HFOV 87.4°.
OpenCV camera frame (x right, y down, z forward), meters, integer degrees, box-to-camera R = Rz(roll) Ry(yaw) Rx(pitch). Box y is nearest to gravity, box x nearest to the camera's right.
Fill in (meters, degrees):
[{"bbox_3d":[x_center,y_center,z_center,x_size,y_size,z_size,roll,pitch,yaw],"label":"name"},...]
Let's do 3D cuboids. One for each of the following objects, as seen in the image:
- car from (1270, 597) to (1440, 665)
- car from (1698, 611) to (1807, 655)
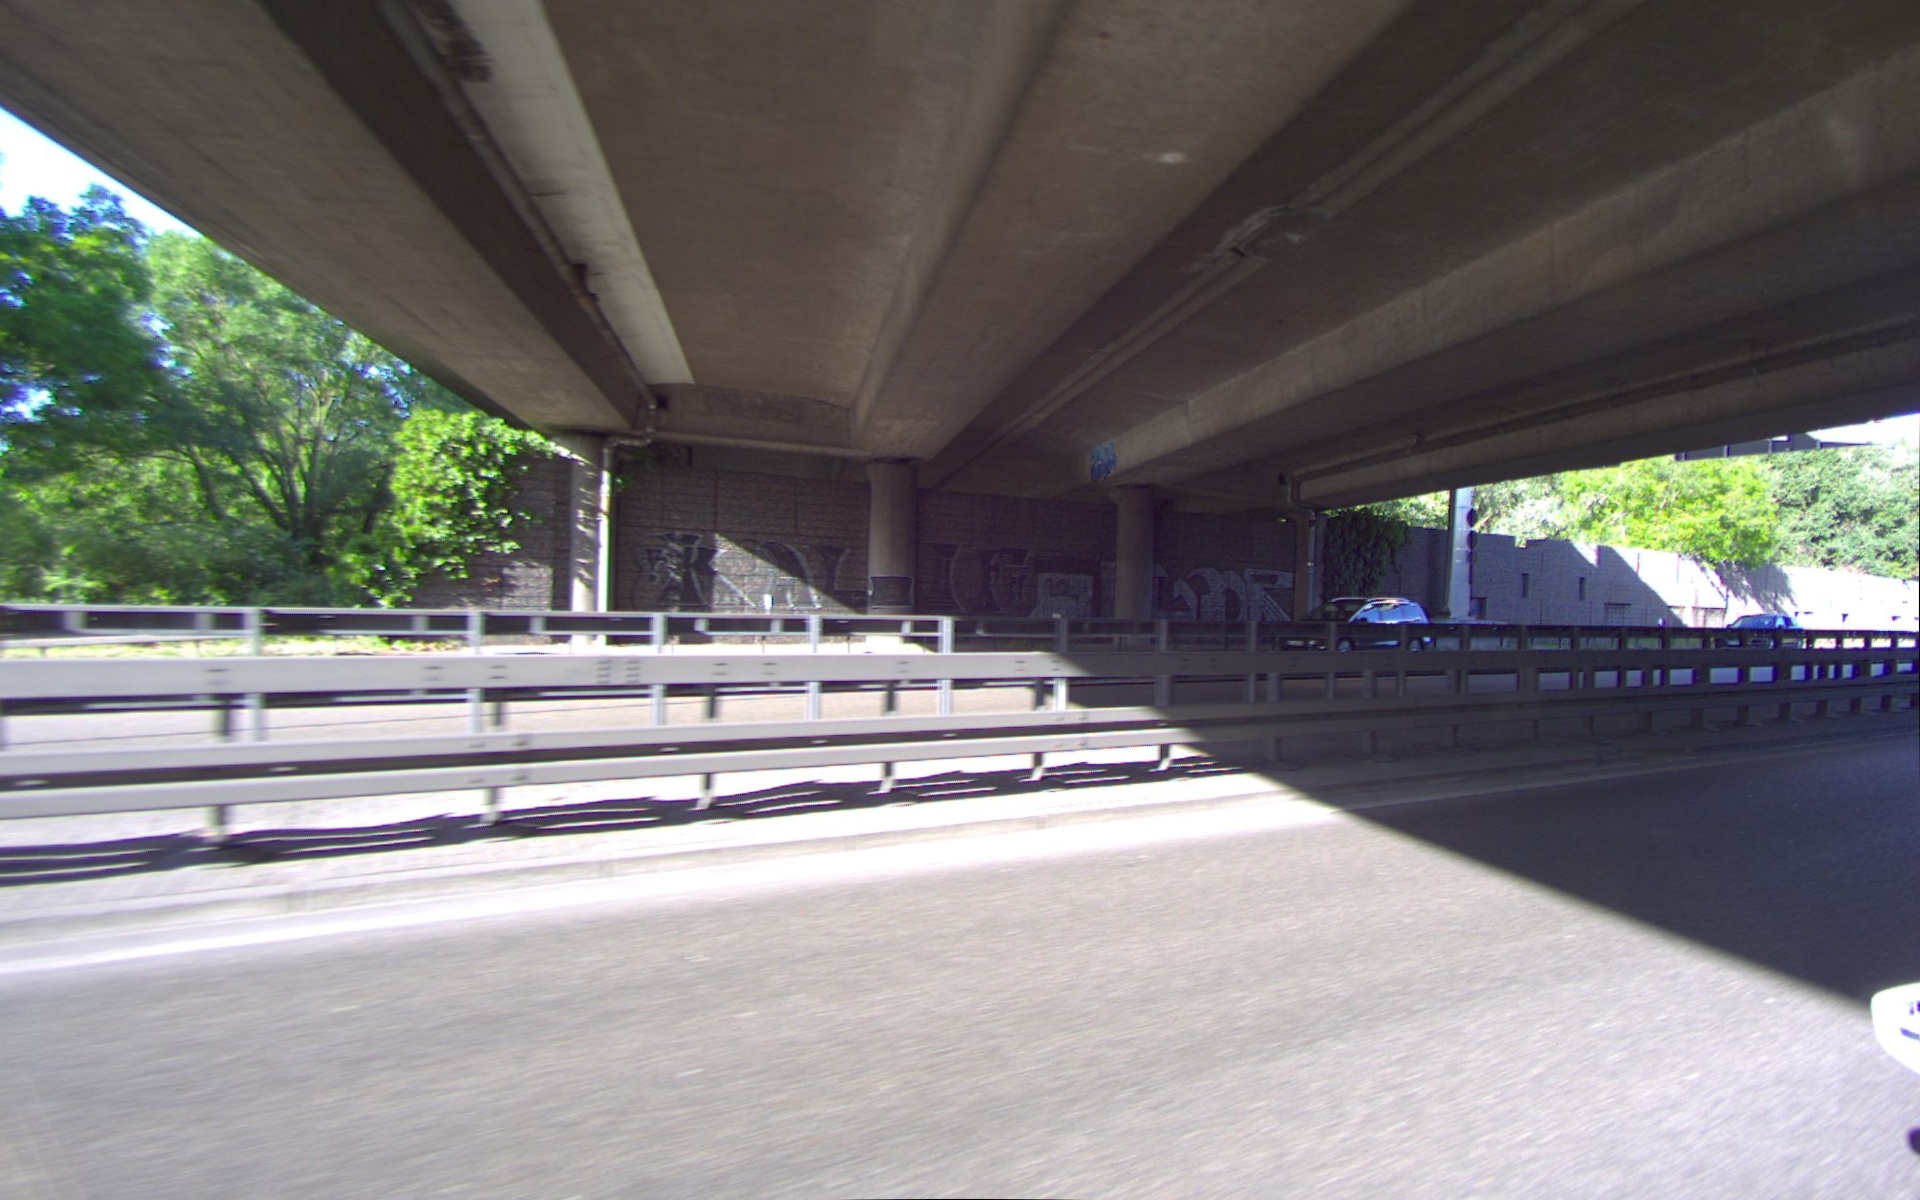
[{"bbox_3d":[10.848,0.810,27.520,4.507,1.728,1.984,1,0,-30],"label":"car"},{"bbox_3d":[32.083,1.311,40.633,4.375,1.617,1.984,1,1,-30],"label":"car"}]
